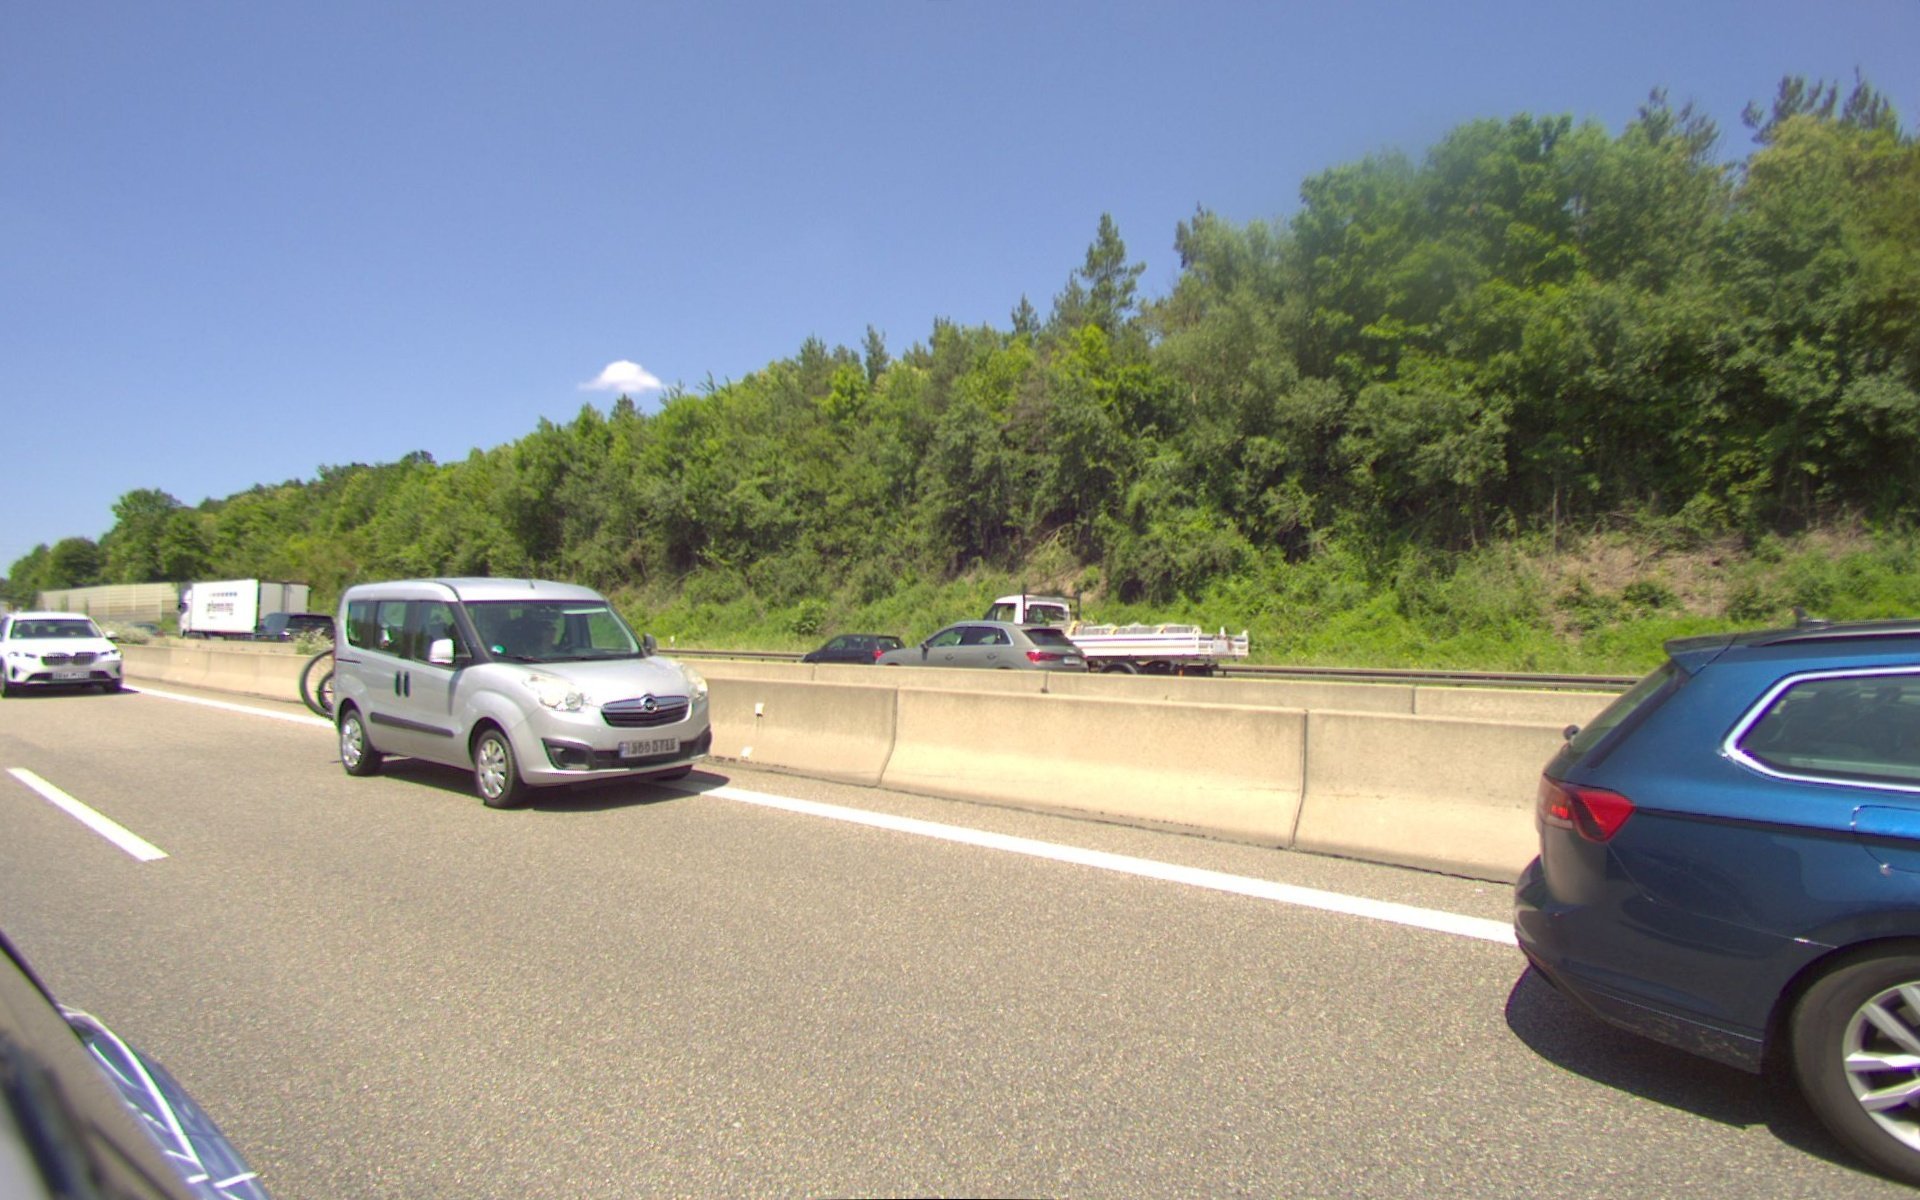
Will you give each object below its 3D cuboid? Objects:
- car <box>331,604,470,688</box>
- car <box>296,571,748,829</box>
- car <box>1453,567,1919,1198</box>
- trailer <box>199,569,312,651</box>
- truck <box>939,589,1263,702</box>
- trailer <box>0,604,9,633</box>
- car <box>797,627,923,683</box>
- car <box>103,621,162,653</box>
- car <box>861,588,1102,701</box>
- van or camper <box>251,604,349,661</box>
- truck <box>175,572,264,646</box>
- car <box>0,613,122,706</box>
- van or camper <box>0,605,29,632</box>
[{"bbox_3d":[-14.790,1.126,26.677,3.998,2.029,1.973,0,0,41],"label":"car"},{"bbox_3d":[-4.228,0.698,9.313,4.914,1.786,1.834,0,0,40],"label":"car"},{"bbox_3d":[3.835,0.641,2.189,4.675,1.461,1.855,-1,-1,40],"label":"car"},{"bbox_3d":[-41.927,0.558,60.035,10.809,4.515,2.919,0,0,40],"label":"trailer"},{"bbox_3d":[2.766,0.822,21.150,6.486,2.029,2.328,0,0,39],"label":"truck"},{"bbox_3d":[-134.524,2.572,140.127,11.392,3.901,2.967,0,0,40],"label":"trailer"},{"bbox_3d":[-3.069,1.631,30.880,3.539,1.496,1.911,0,0,39],"label":"car"},{"bbox_3d":[-49.632,2.202,60.663,4.448,1.776,1.973,0,0,40],"label":"car"},{"bbox_3d":[0.315,0.731,18.578,4.290,1.852,1.766,0,0,40],"label":"car"},{"bbox_3d":[-25.271,1.179,38.680,4.927,2.029,1.972,0,0,42],"label":"van or camper"},{"bbox_3d":[-47.353,0.552,64.639,7.512,4.515,2.919,0,0,40],"label":"truck"},{"bbox_3d":[-18.969,1.140,20.978,3.997,1.719,1.801,0,0,40],"label":"car"},{"bbox_3d":[-92.465,1.810,98.666,4.809,2.403,1.972,-1,-6,43],"label":"van or camper"}]
